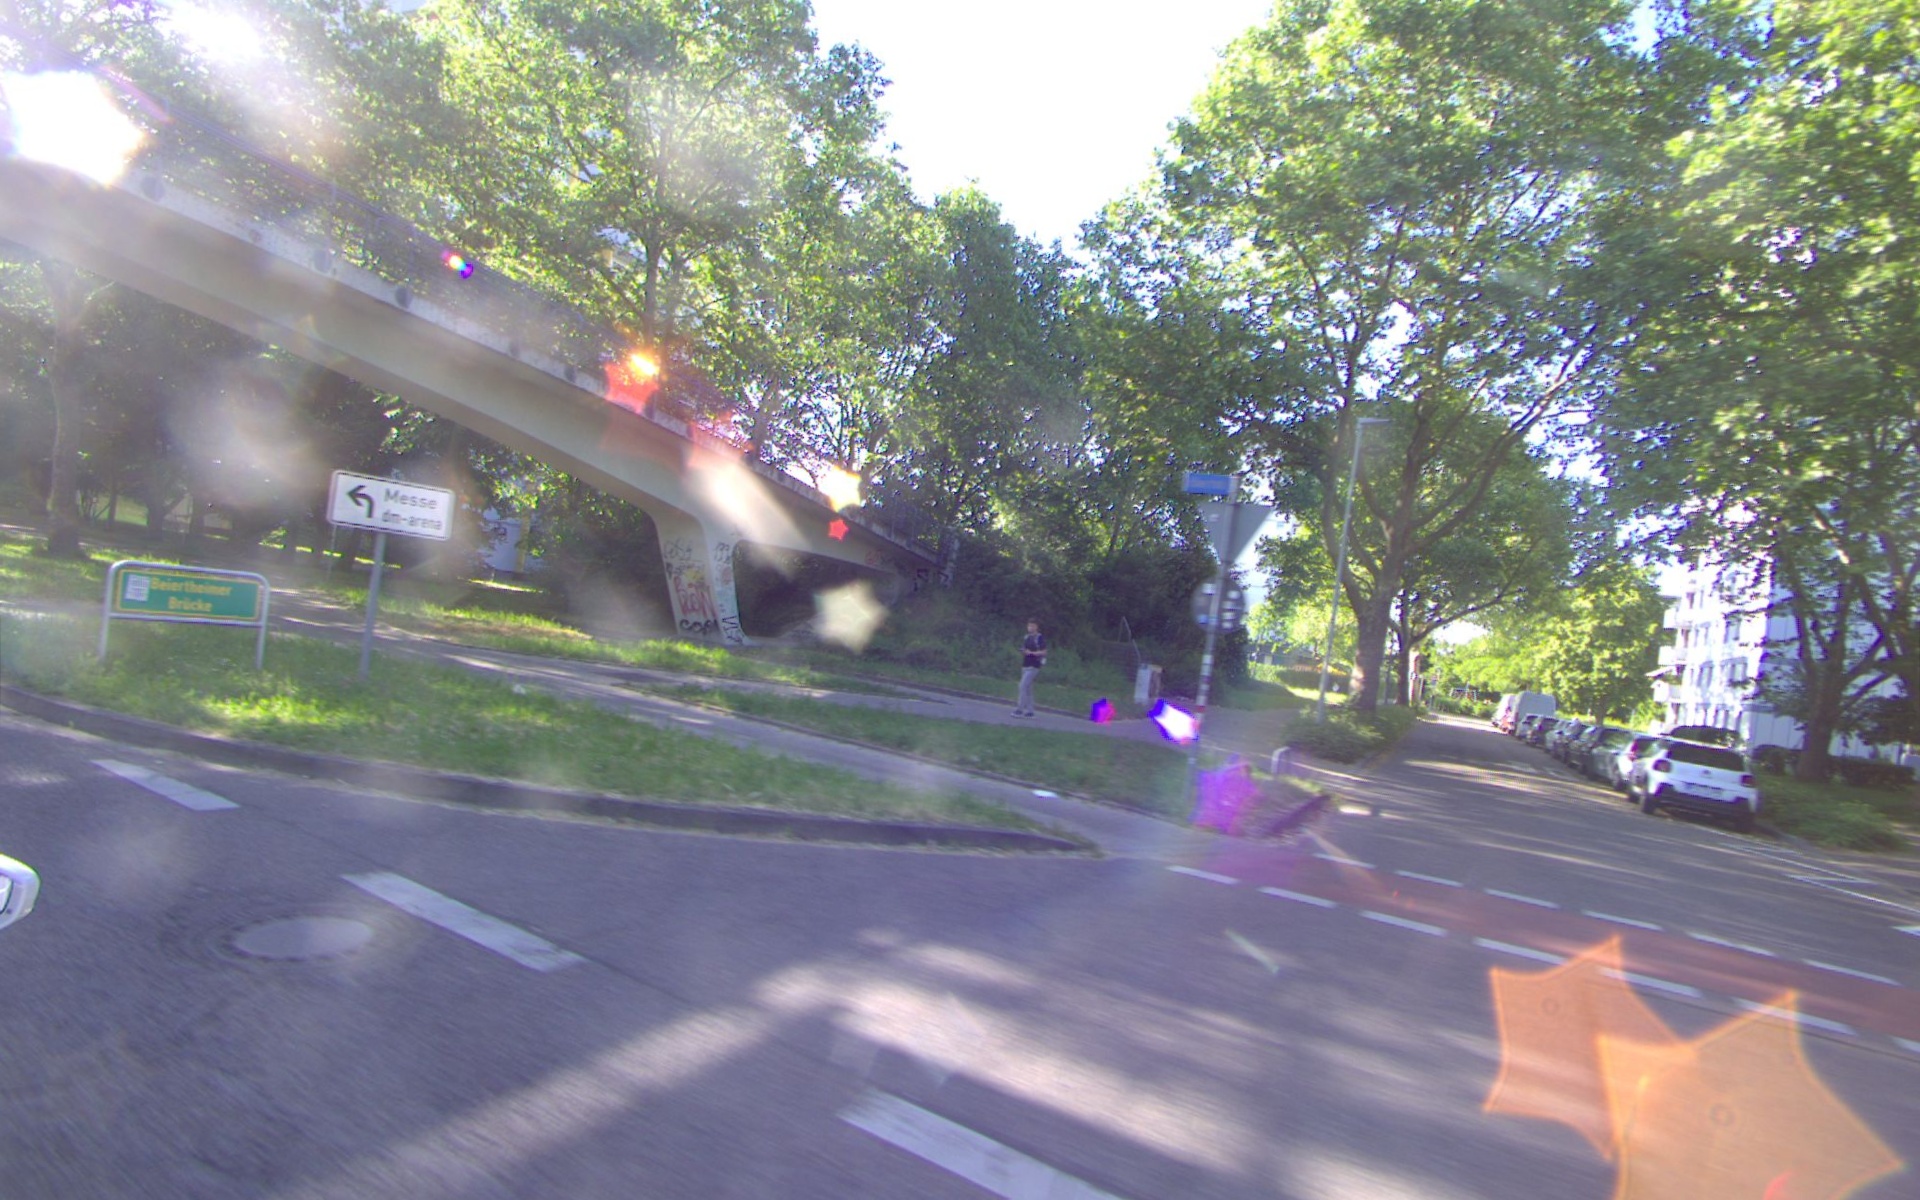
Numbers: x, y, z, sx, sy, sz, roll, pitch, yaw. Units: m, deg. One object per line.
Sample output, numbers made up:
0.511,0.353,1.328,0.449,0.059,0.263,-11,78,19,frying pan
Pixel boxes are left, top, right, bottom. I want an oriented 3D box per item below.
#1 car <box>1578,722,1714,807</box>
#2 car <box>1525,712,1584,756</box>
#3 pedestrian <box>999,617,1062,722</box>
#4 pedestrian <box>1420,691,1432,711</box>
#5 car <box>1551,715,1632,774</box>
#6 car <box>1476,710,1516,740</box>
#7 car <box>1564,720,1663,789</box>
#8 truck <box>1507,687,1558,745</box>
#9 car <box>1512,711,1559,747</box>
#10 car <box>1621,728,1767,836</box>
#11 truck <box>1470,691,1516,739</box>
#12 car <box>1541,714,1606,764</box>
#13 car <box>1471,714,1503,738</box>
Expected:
16.906,4.006,25.005,1.637,1.512,3.989,10,-1,20,car
25.925,5.800,43.968,1.638,1.512,3.592,10,-1,25,car
1.287,1.267,18.391,0.726,1.798,0.660,9,0,22,pedestrian
50.499,10.910,108.911,0.928,2.037,1.019,7,-1,27,pedestrian
21.088,4.785,33.717,1.598,1.512,3.592,10,-1,24,car
34.668,8.083,65.135,1.638,1.512,3.593,10,-1,22,car
18.693,4.368,28.911,1.594,1.512,3.592,10,-1,24,car
32.933,6.676,57.994,1.881,2.850,5.186,10,-1,27,truck
29.868,6.661,52.266,1.638,1.512,3.591,10,-1,26,car
14.290,3.470,19.790,1.680,1.513,3.737,9,-1,29,car
38.021,8.153,71.831,1.880,3.012,5.190,10,-1,22,truck
23.486,5.282,38.603,1.556,1.512,3.591,10,-1,26,car
41.983,10.026,80.219,1.638,1.512,3.593,10,-1,22,car
